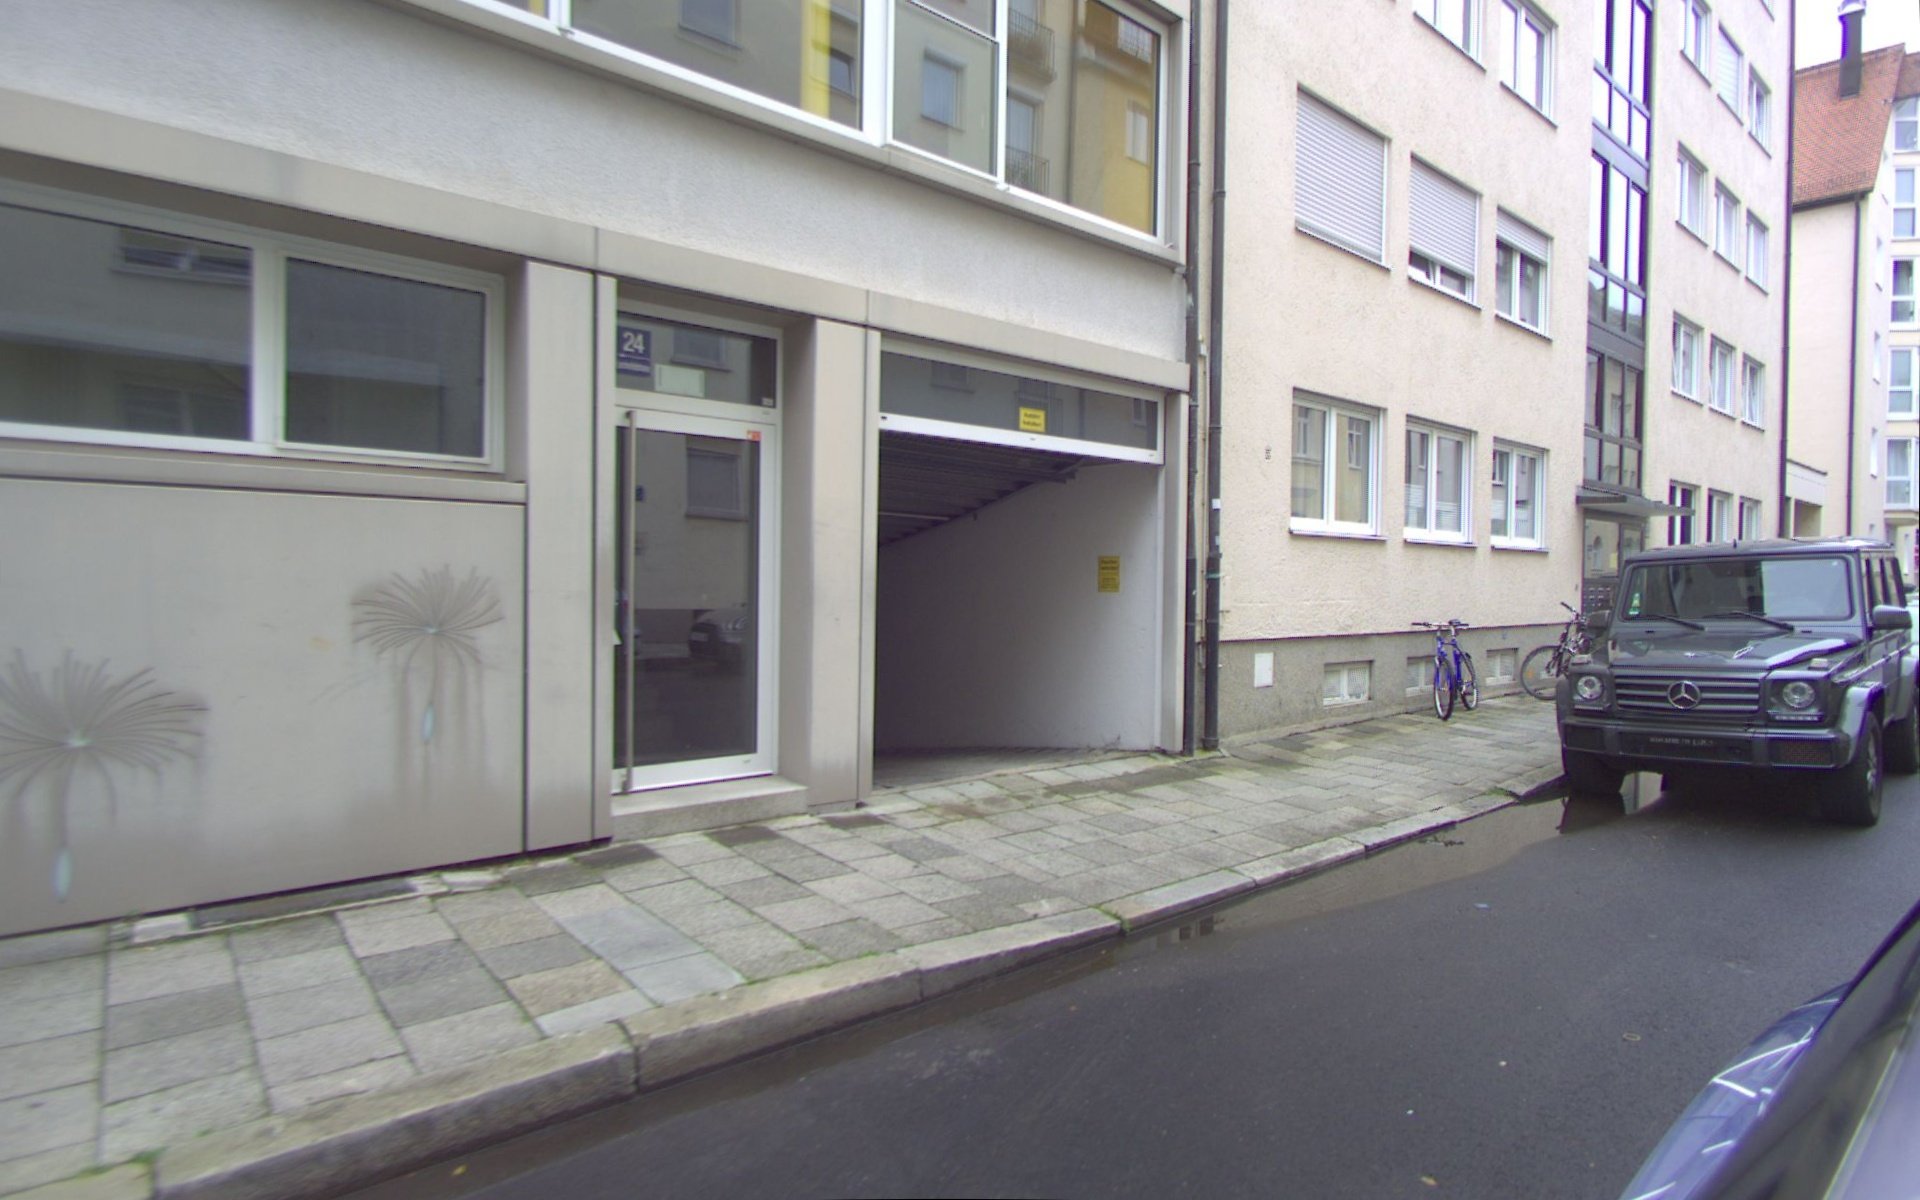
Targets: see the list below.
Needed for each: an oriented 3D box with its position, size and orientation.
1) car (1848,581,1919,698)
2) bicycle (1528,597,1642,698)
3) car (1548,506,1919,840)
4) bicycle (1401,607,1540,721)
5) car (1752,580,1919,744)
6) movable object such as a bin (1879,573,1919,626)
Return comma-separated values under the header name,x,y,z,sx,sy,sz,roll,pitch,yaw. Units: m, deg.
name,x,y,z,sx,sy,sz,roll,pitch,yaw
car,14.276,0.495,14.608,4.172,1.504,1.714,-1,1,-42
bicycle,7.925,0.562,12.812,1.729,1.119,0.656,-1,5,-40
car,6.480,0.443,8.156,4.268,2.001,1.753,0,-1,-42
bicycle,5.549,0.650,10.966,1.765,1.041,0.646,-1,5,-40
car,10.217,0.545,11.099,4.172,1.504,1.714,-1,1,-42
movable object such as a bin,27.408,-0.033,29.231,1.559,1.440,1.035,-1,4,-40
